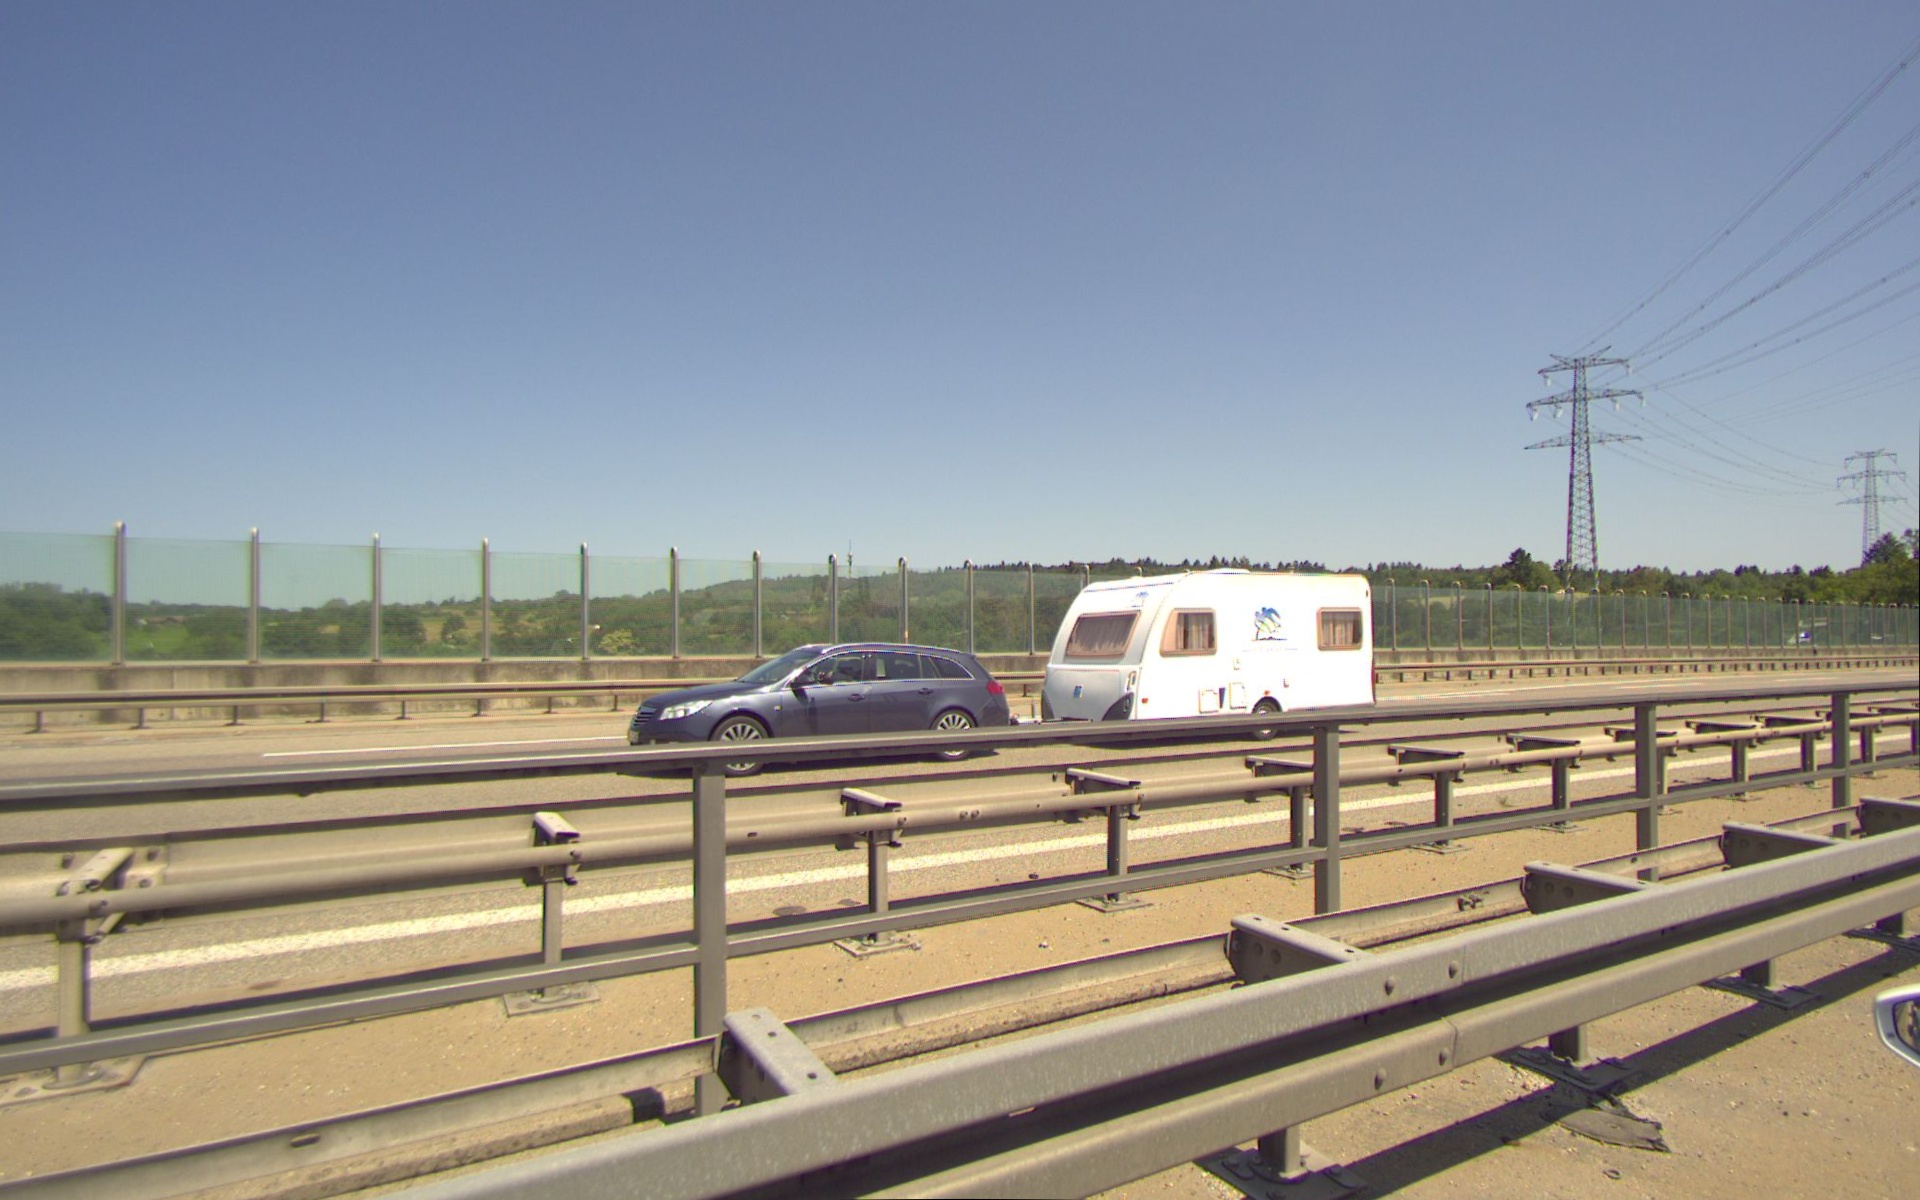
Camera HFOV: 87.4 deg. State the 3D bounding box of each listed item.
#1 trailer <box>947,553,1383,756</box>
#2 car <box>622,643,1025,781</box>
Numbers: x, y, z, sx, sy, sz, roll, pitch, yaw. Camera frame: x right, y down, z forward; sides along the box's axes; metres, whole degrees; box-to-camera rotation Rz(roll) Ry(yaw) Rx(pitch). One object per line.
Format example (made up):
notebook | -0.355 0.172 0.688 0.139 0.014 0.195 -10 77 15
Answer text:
trailer | 3.299 0.800 15.553 6.694 2.582 2.482 1 -3 -30
car | -1.607 1.255 12.415 4.627 1.426 1.767 1 -3 -30
